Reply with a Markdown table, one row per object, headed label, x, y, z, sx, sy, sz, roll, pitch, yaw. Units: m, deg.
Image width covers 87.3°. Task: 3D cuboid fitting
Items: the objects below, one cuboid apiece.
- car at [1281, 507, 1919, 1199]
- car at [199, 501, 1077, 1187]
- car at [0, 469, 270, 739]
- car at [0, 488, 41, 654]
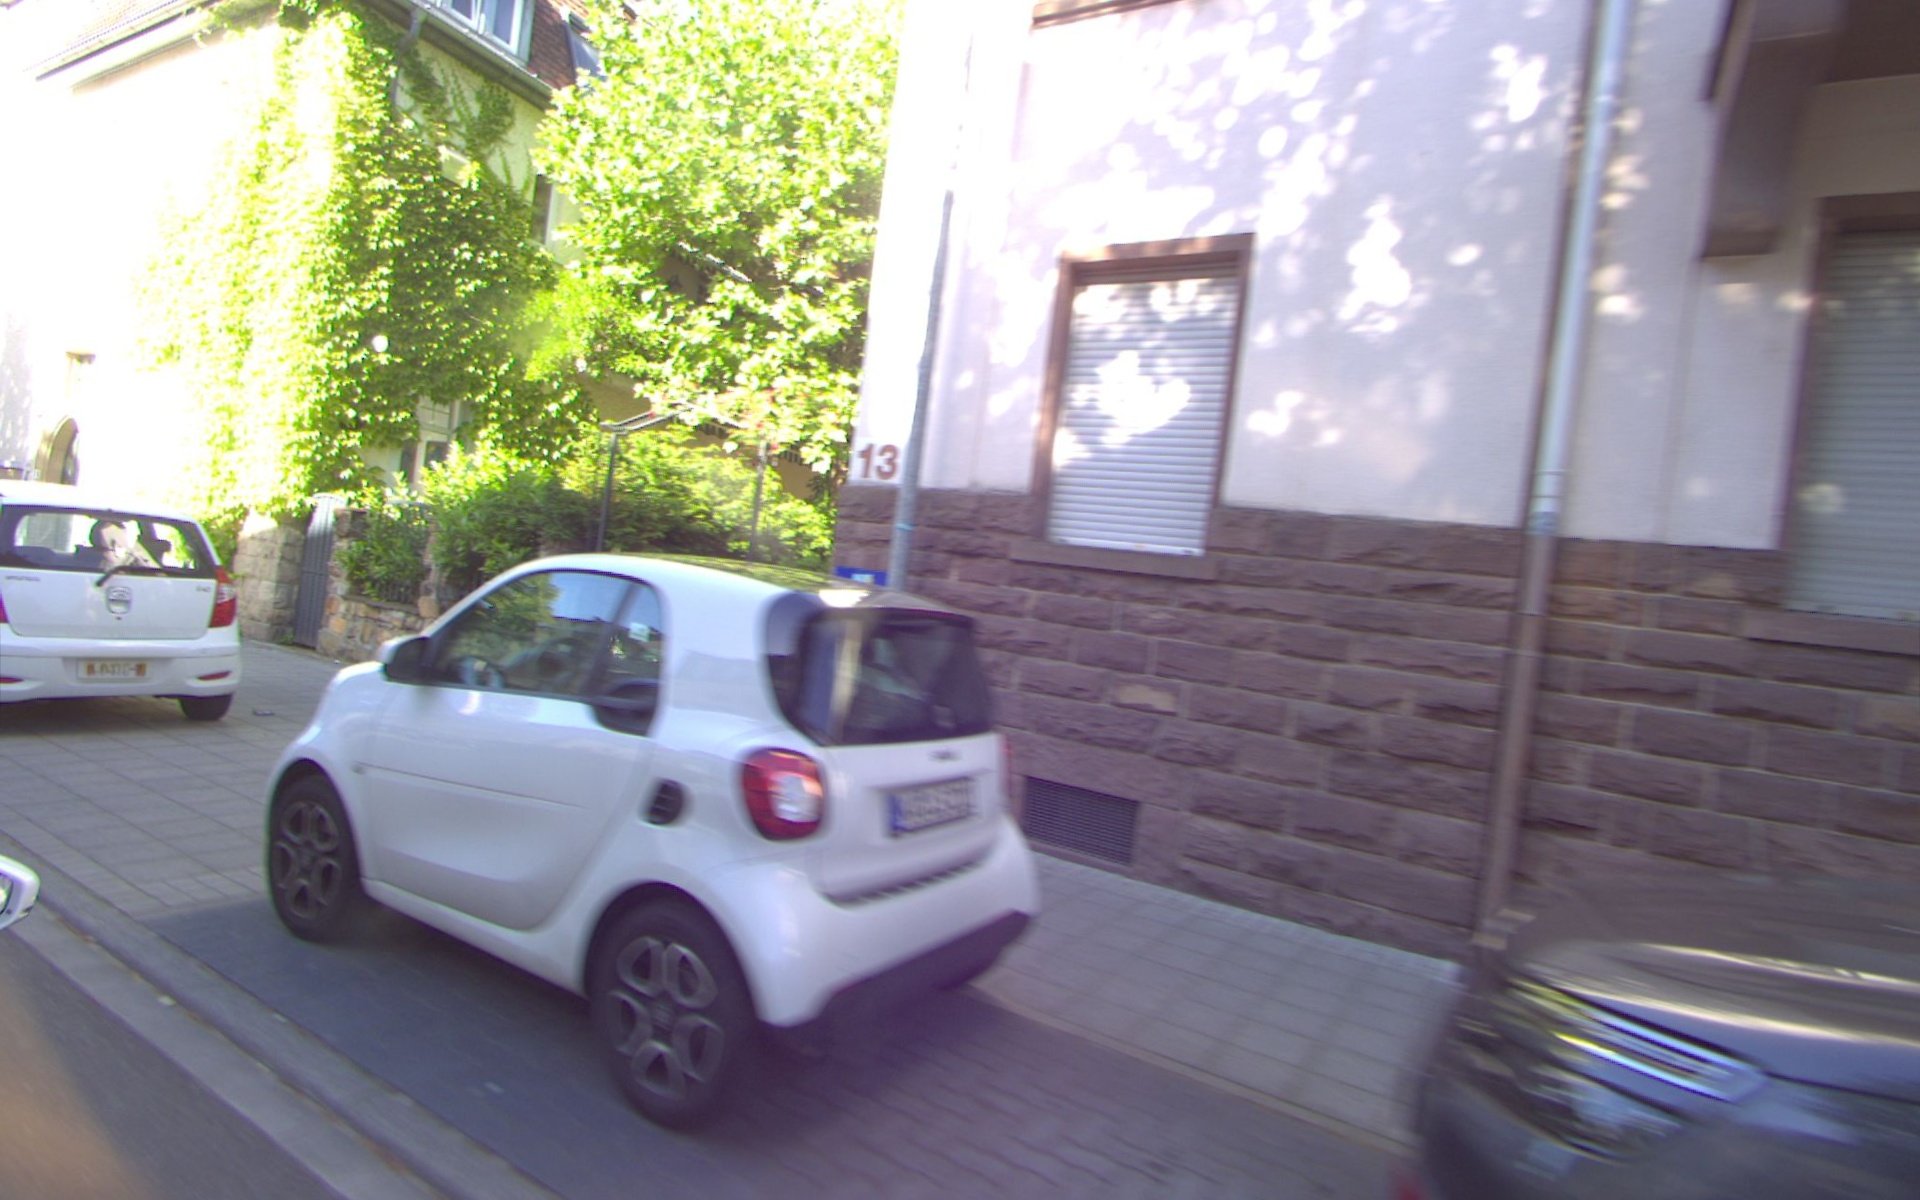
| label | x | y | z | sx | sy | sz | roll | pitch | yaw |
| --- | --- | --- | --- | --- | --- | --- | --- | --- | --- |
| car | 2.763 | 0.991 | 1.173 | 4.249 | 1.715 | 1.782 | 6 | -3 | 32 |
| car | -1.249 | 0.595 | 3.872 | 2.822 | 1.567 | 1.628 | 6 | -2 | 31 |
| car | -6.725 | -0.080 | 7.220 | 3.411 | 1.568 | 1.577 | 6 | 0 | 31 |
| car | -10.437 | -0.455 | 9.323 | 4.123 | 1.454 | 1.710 | 6 | 1 | 31 |
